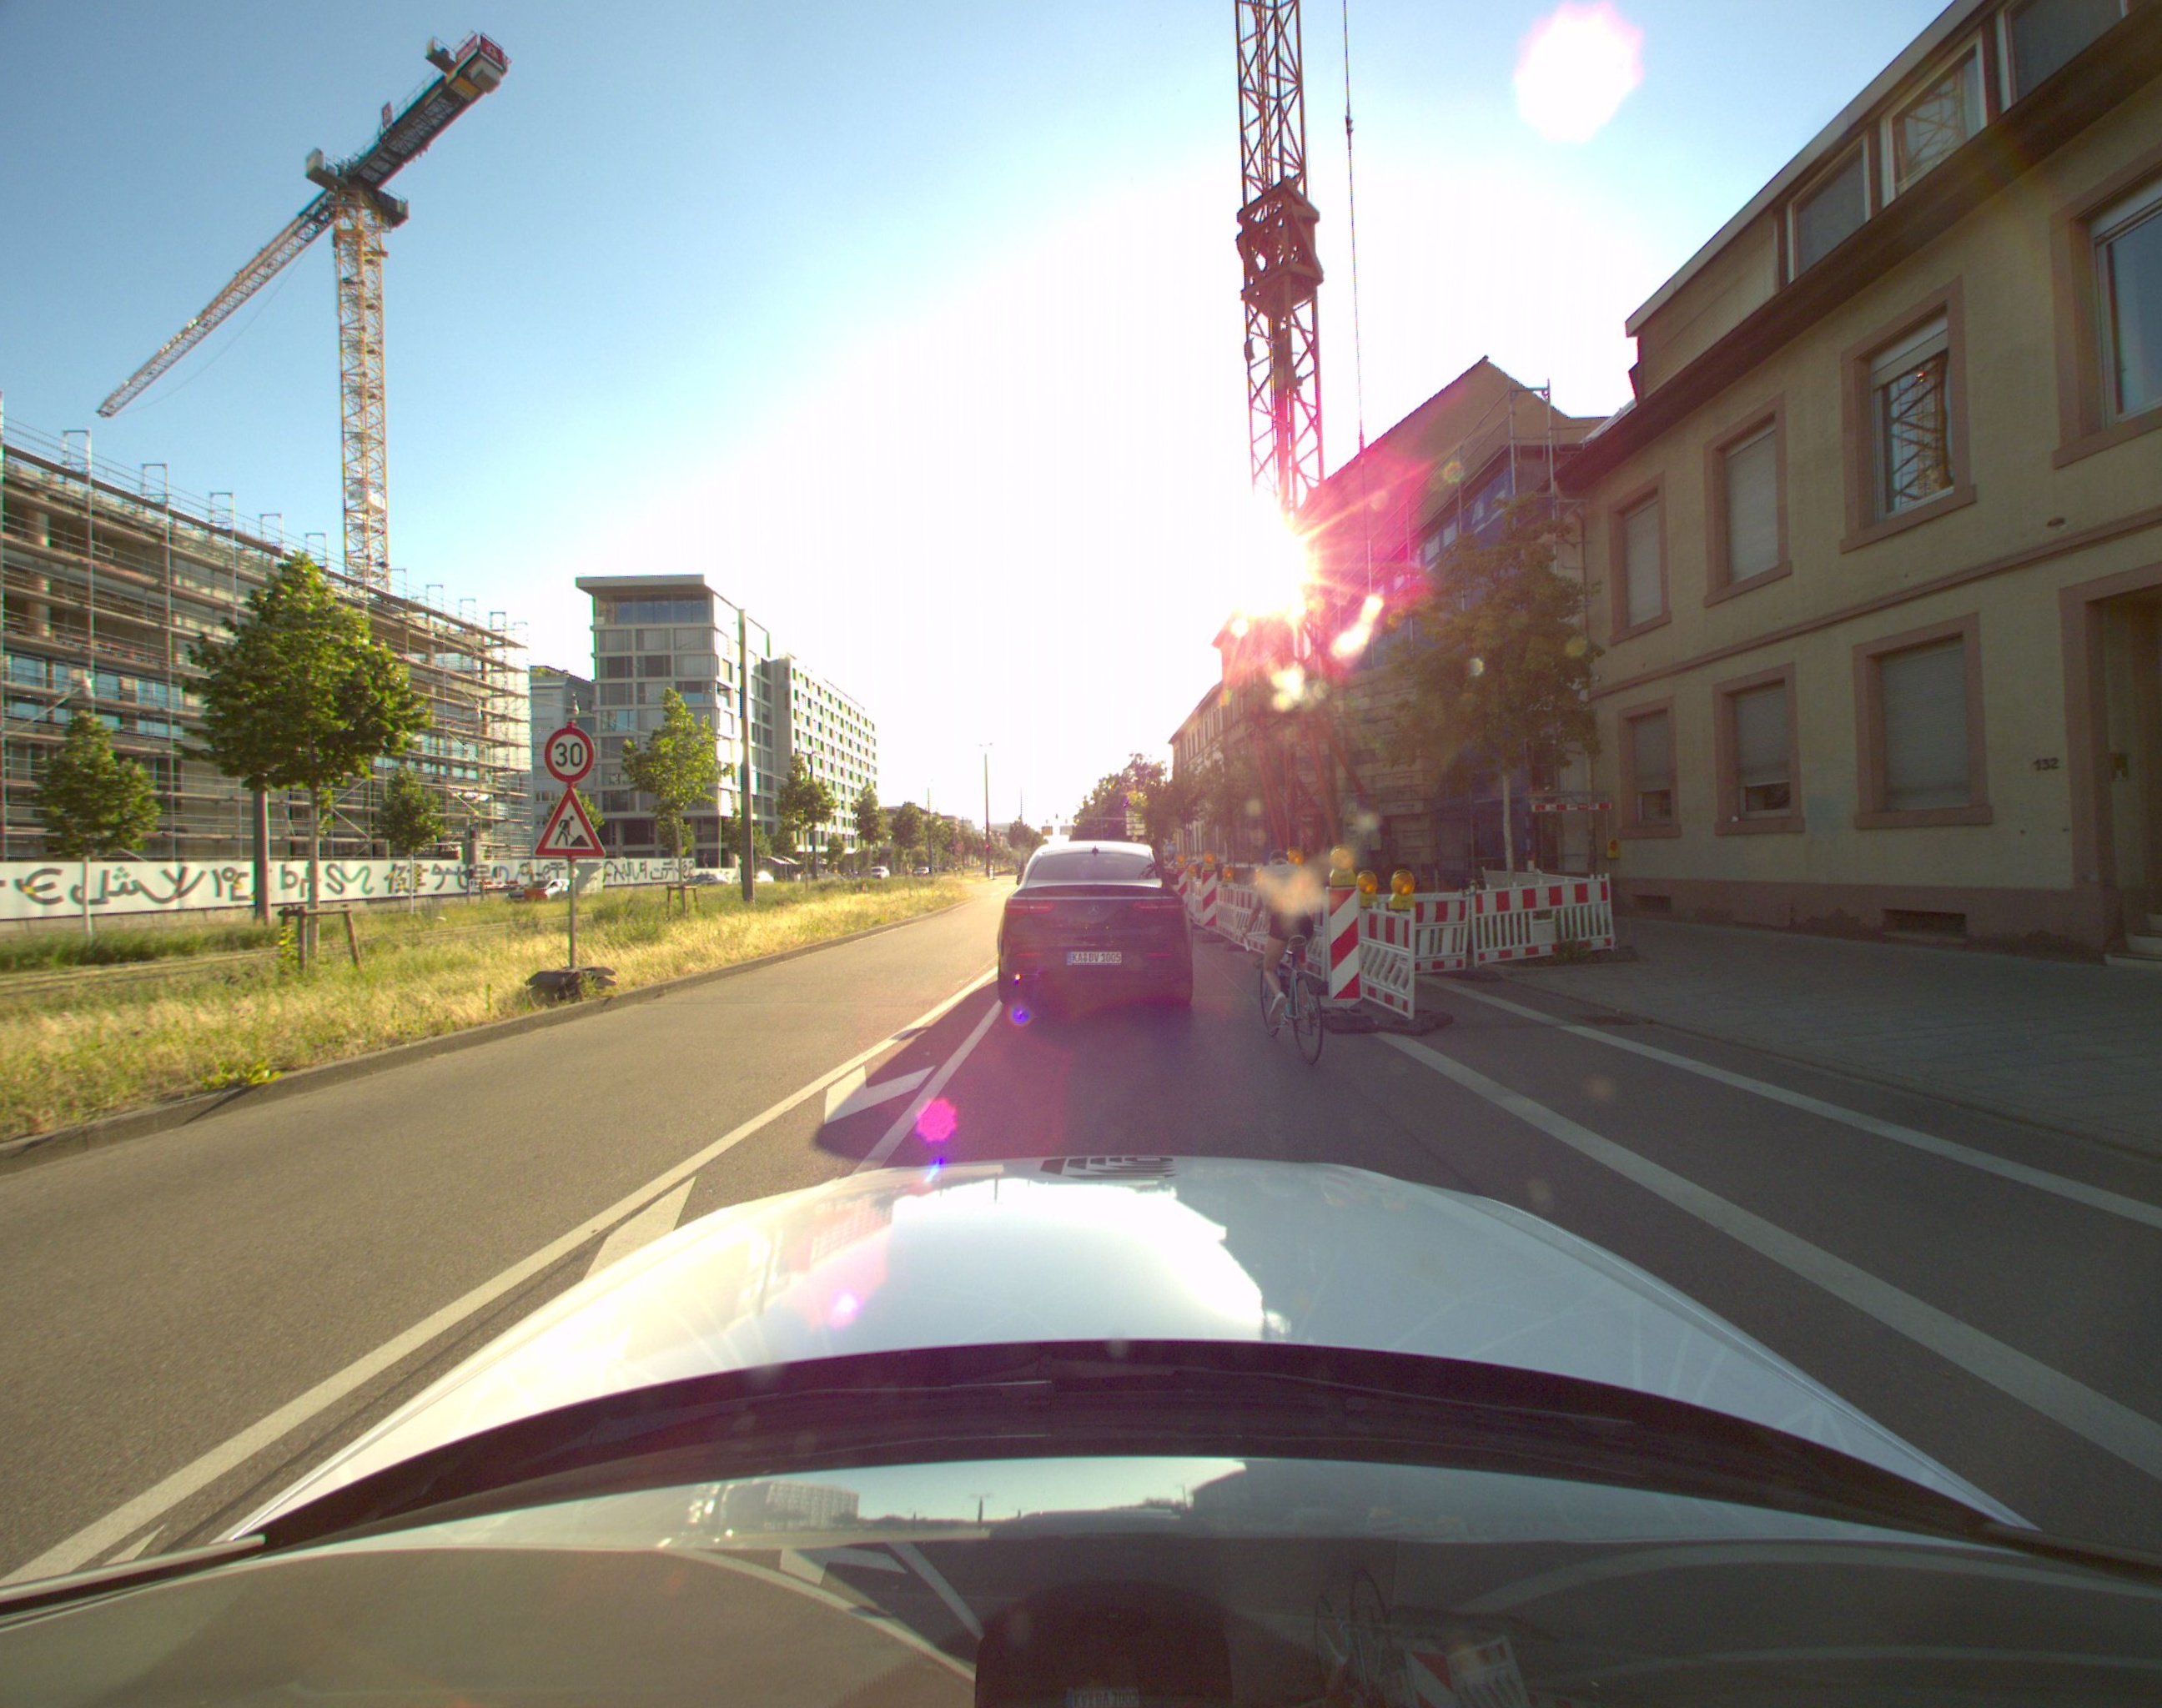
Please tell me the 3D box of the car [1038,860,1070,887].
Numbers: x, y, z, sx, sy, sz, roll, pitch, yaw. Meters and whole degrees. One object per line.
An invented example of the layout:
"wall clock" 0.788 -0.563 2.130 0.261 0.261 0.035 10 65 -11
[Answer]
"car" -1.557 1.116 47.702 1.703 1.442 3.581 -1 0 0

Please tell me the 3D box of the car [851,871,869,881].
"car" -32.149 3.166 118.419 1.703 1.442 3.581 -1 -1 0

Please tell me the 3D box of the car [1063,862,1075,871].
"car" -1.845 1.916 124.996 1.703 1.442 3.581 -1 -1 0

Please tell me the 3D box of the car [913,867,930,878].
"car" -22.630 2.653 115.419 1.703 1.442 3.581 -1 -1 0

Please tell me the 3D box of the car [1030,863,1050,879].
"car" -3.900 1.636 78.063 1.703 1.442 3.581 -1 -1 0

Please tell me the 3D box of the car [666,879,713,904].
"car" -29.595 2.806 61.681 1.784 1.684 3.638 -1 -1 1

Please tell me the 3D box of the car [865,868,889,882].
"car" -25.741 2.682 102.860 1.782 1.684 3.643 -1 -1 5

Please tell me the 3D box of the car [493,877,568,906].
"car" -30.252 2.021 44.869 1.703 1.442 3.581 -1 -1 0

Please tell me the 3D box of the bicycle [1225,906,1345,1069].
"bicycle" 1.602 1.001 6.647 0.511 1.052 1.724 -1 -1 -1

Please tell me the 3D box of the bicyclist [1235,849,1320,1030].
"bicyclist" 1.588 0.665 6.635 0.521 1.395 0.614 -1 -1 -1

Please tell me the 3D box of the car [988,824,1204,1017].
"car" 0.201 0.635 9.530 1.986 1.772 4.001 -1 -1 2

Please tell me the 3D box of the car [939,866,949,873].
"car" -30.753 3.419 182.660 1.703 1.442 3.581 -1 -1 0
